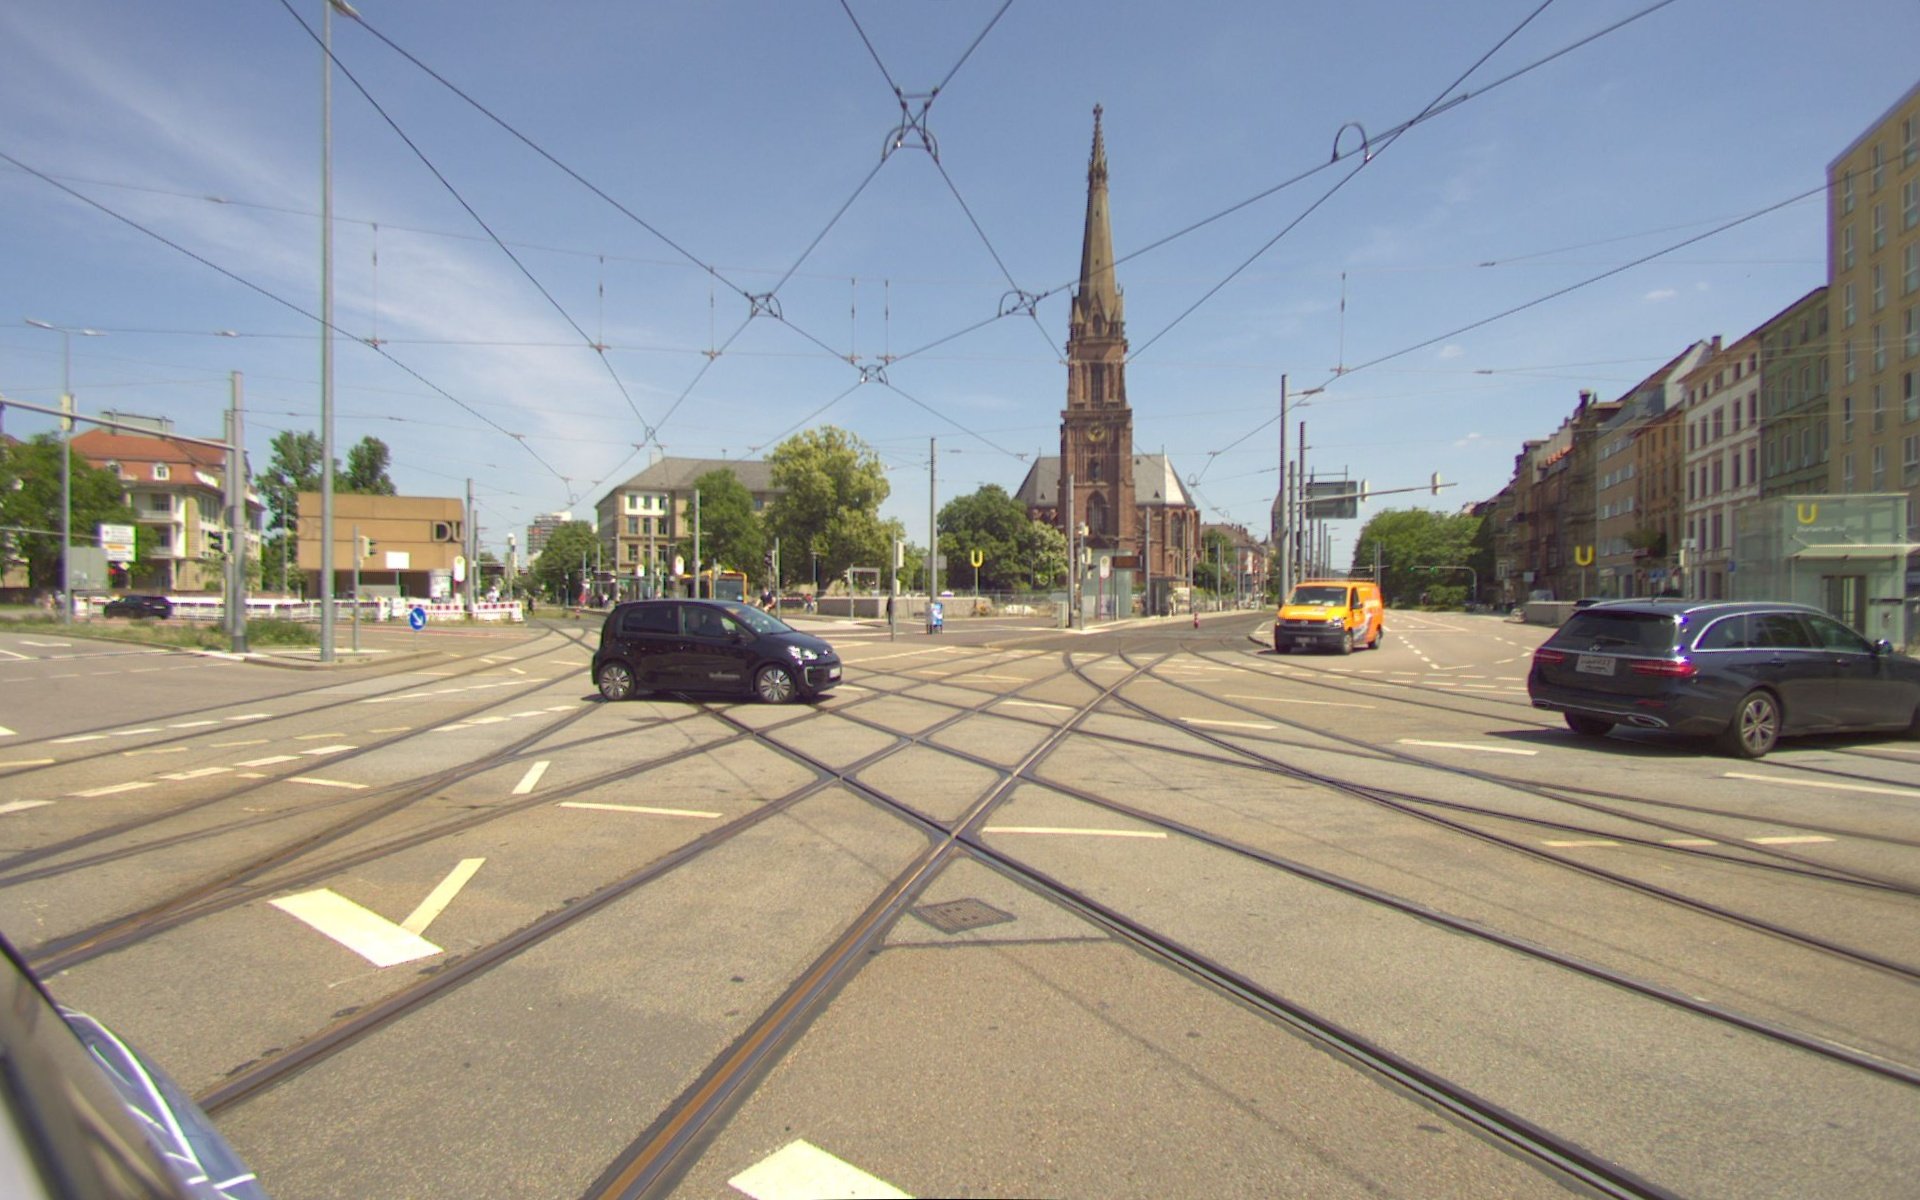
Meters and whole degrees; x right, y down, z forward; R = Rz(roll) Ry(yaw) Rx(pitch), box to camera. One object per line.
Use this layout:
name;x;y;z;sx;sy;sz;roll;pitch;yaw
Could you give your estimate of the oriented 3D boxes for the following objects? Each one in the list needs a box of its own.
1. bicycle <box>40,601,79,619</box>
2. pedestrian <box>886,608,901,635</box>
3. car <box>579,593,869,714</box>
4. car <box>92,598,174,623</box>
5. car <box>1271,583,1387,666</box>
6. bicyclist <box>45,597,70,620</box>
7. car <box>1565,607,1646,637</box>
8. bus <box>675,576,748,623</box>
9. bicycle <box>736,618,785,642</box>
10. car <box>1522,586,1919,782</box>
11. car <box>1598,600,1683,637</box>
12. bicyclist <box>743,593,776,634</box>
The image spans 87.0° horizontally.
bicycle;-54.833;0.601;61.621;2.218;1.080;0.872;0;2;23
pedestrian;-3.336;1.074;50.682;0.518;1.344;1.001;0;0;-20
car;-3.338;0.729;14.629;3.696;1.588;1.744;-1;1;10
car;-49.165;0.615;60.154;4.820;1.476;1.982;0;0;26
car;10.284;0.632;27.988;1.994;2.073;4.817;0;0;33
bicyclist;-54.943;0.491;61.630;1.430;1.366;0.582;0;2;23
car;34.294;1.150;53.754;3.931;1.521;1.844;0;0;-26
bus;-17.524;0.008;70.722;2.807;3.038;12.261;0;0;-24
bicycle;-7.697;1.159;39.190;0.628;0.861;1.874;0;0;41
car;8.459;0.722;10.562;4.722;1.652;1.809;-1;1;-18
car;34.283;0.902;50.986;3.931;1.763;1.844;0;-1;-26
bicyclist;-7.760;0.522;39.219;0.438;1.540;1.237;1;2;41
